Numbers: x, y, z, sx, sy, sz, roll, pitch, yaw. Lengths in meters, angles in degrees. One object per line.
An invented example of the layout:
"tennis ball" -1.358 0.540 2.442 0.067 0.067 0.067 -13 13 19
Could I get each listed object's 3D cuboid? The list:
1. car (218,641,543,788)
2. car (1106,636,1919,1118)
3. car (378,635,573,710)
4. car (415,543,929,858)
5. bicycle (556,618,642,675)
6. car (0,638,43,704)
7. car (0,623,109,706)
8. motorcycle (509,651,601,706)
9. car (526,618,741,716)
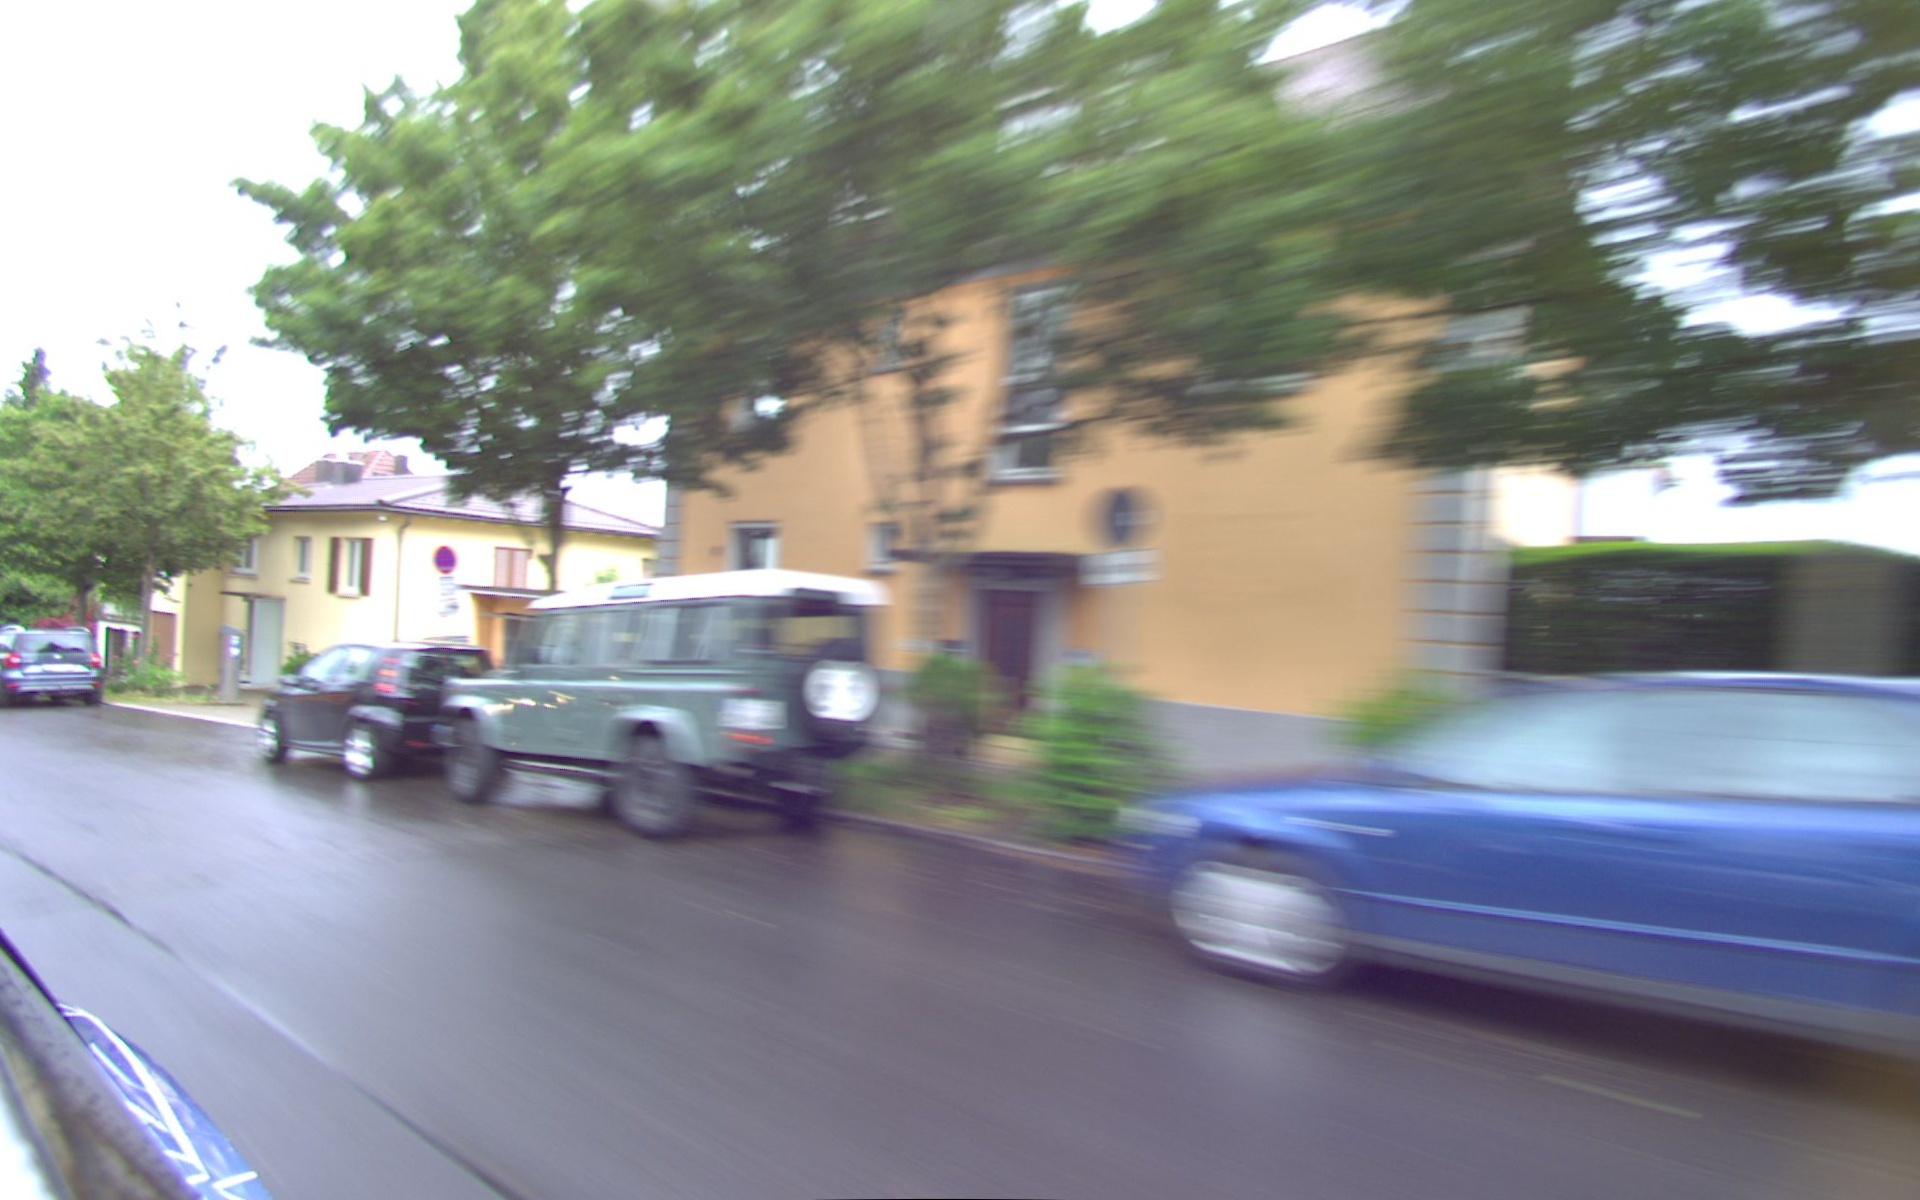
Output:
"car" -7.022 1.233 12.112 4.339 1.447 1.752 -1 -3 37
"car" 3.017 0.878 4.037 4.632 1.398 1.749 -1 -3 42
"car" -12.022 1.728 25.344 1.860 1.658 4.017 -1 -2 36
"car" -2.684 0.800 8.834 4.774 2.065 1.774 -3 -6 38
"bicycle" -8.697 1.129 24.451 0.626 0.944 1.744 -2 -18 37
"car" -24.422 1.709 24.832 4.592 1.547 1.753 -2 -4 34
"car" -20.199 1.399 21.889 4.102 1.647 1.752 -2 -6 37
"motorcycle" -9.304 1.787 23.320 0.577 1.176 1.882 2 -1 38
"car" -7.418 1.486 23.356 1.847 1.904 4.338 4 0 38
